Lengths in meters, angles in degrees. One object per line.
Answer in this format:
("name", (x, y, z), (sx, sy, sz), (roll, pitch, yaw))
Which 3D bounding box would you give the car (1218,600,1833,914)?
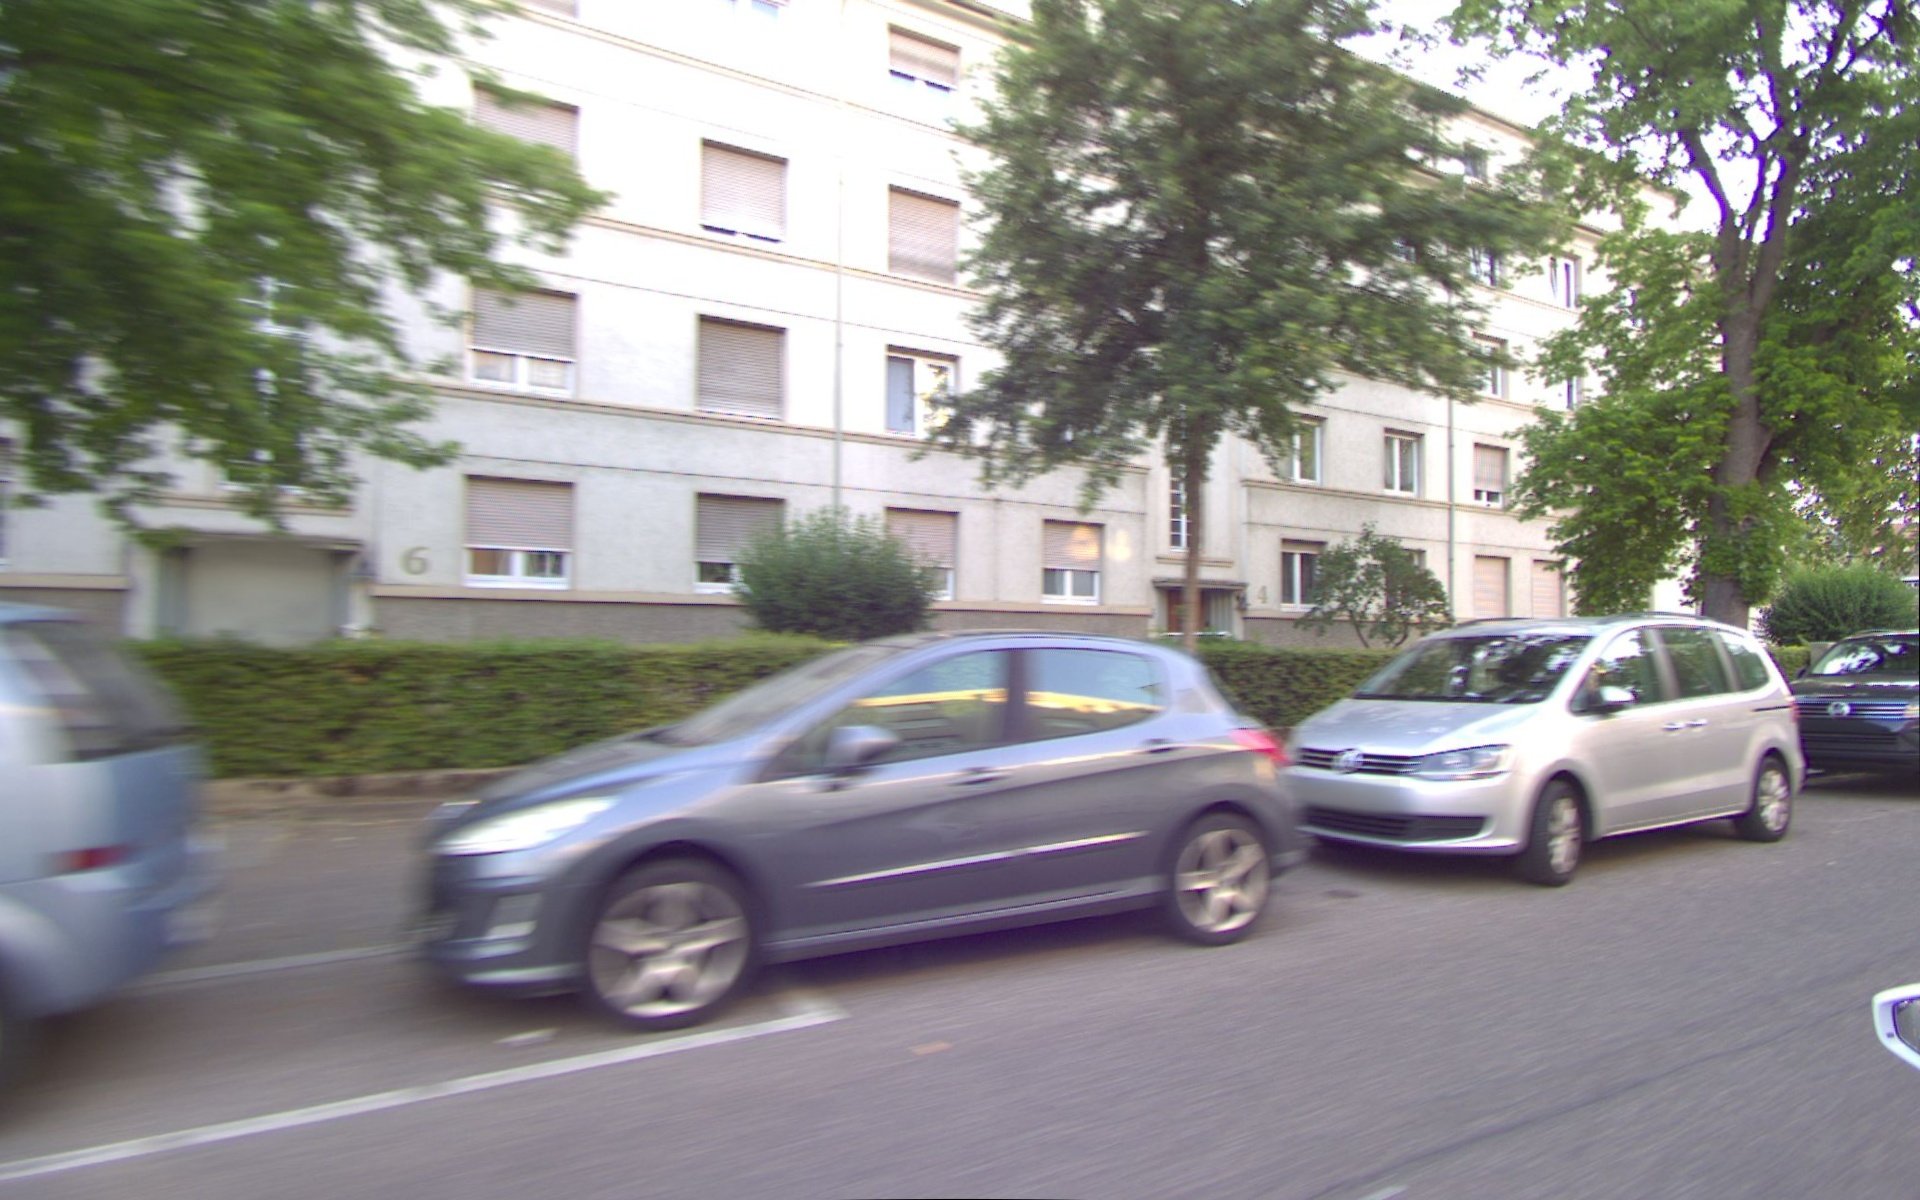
("car", (4.366, 0.985, 7.544), (4.803, 1.712, 1.838), (2, -5, -31))

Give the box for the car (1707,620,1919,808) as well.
("car", (10.585, 1.169, 11.108), (4.714, 1.741, 1.946), (2, -5, -30))

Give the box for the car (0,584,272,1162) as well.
("car", (-4.532, 0.797, 2.821), (4.066, 1.621, 1.701), (2, -6, -29))

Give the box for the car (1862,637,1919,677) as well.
("car", (46.054, 2.708, 48.068), (4.547, 1.823, 1.822), (0, -2, -10))

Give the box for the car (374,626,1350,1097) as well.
("car", (-0.328, 0.947, 4.950), (4.211, 1.516, 1.729), (1, -5, -25))
